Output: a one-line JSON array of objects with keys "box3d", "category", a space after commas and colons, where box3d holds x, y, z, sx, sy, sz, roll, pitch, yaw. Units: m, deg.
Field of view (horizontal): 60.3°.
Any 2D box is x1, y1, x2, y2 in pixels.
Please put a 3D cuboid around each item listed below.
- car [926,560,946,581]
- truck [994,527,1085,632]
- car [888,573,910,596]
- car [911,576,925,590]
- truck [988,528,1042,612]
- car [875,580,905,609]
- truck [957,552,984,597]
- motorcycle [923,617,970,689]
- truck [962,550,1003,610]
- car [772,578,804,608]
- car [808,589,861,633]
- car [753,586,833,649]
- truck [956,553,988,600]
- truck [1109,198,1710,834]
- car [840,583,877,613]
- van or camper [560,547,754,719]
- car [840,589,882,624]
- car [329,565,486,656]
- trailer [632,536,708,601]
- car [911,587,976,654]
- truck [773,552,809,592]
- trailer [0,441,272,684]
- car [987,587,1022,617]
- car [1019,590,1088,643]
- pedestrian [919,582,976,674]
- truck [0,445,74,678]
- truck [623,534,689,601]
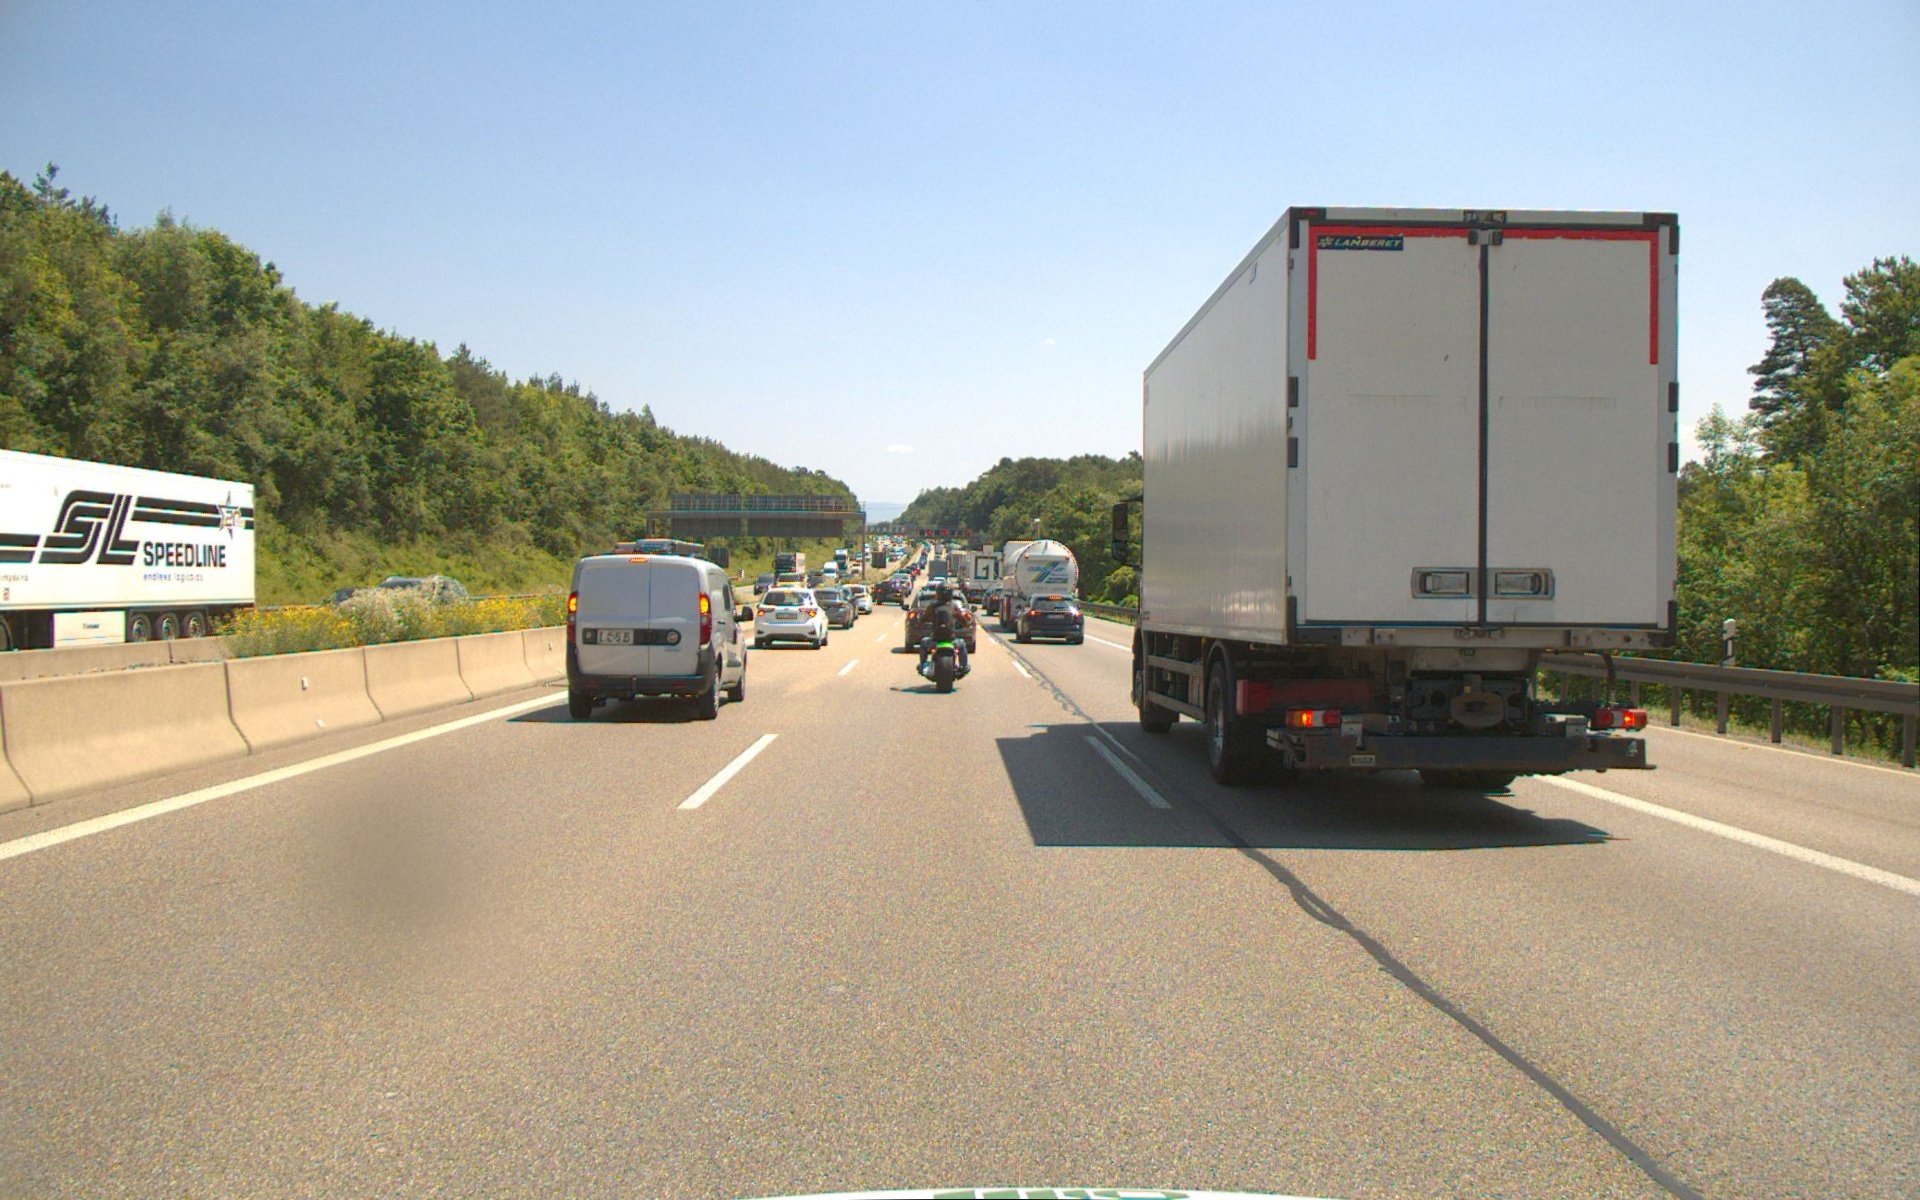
[{"box3d": [-2.959, -3.656, 206.611, 2.453, 2.632, 5.015, 0, 1, -1], "category": "car"}, {"box3d": [2.993, -0.739, 64.845, 2.927, 3.735, 9.286, -2, 0, -1], "category": "truck"}, {"box3d": [-5.743, -1.409, 156.058, 1.890, 2.049, 4.000, -2, 0, 0], "category": "car"}, {"box3d": [-6.222, -2.528, 243.291, 1.953, 2.049, 4.000, 1, 0, -1], "category": "car"}, {"box3d": [2.422, -1.286, 73.938, 1.954, 3.584, 4.748, -2, 0, -3], "category": "truck"}, {"box3d": [-4.744, -0.380, 112.684, 1.841, 1.892, 4.000, 1, 0, -1], "category": "car"}, {"box3d": [1.198, -3.064, 201.014, 2.971, 5.229, 9.981, 1, 1, -1], "category": "truck"}, {"box3d": [-0.192, 0.806, 25.752, 0.677, 1.033, 2.121, 1, 0, 0], "category": "motorcycle"}, {"box3d": [1.749, -1.624, 135.061, 2.971, 4.621, 9.981, 1, 1, -1], "category": "truck"}, {"box3d": [-12.823, -0.503, 123.557, 1.841, 2.049, 4.468, -3, 0, -1], "category": "car"}, {"box3d": [-4.487, 0.368, 59.552, 1.665, 1.504, 4.000, 0, 1, -1], "category": "car"}, {"box3d": [-4.232, 0.415, 42.406, 1.665, 1.504, 4.000, 0, 1, -1], "category": "car"}, {"box3d": [1.171, -2.380, 170.925, 2.971, 4.621, 9.981, 1, 1, -1], "category": "truck"}, {"box3d": [3.308, -0.557, 15.413, 2.634, 3.943, 9.778, -2, 0, -1], "category": "truck"}, {"box3d": [-5.151, -0.115, 84.421, 1.665, 1.504, 4.000, 0, 1, -1], "category": "car"}, {"box3d": [-3.682, 0.386, 20.764, 1.760, 1.925, 4.158, 1, 0, -2], "category": "van or camper"}, {"box3d": [-4.336, 0.267, 73.041, 1.665, 1.504, 4.000, 0, 1, -1], "category": "car"}, {"box3d": [-11.943, 0.227, 36.096, 1.845, 1.786, 4.786, -2, 0, -1], "category": "car"}, {"box3d": [-19.746, -2.005, 113.506, 2.847, 4.043, 13.885, -2, 0, -1], "category": "trailer"}, {"box3d": [-0.435, 0.484, 41.378, 1.502, 1.536, 3.999, -2, 0, -1], "category": "car"}, {"box3d": [-20.392, -3.326, 200.128, 3.649, 4.607, 7.324, -2, 0, -1], "category": "truck"}, {"box3d": [-18.804, -0.632, 34.755, 2.745, 4.414, 14.036, -1, 0, 0], "category": "trailer"}, {"box3d": [2.427, 0.112, 90.559, 1.751, 1.583, 3.803, 0, 1, -1], "category": "car"}, {"box3d": [2.797, 0.481, 50.180, 1.791, 1.496, 4.000, 1, 1, -1], "category": "car"}, {"box3d": [-0.191, 0.430, 25.808, 0.832, 1.385, 0.961, -2, 0, 0], "category": "pedestrian"}, {"box3d": [-18.782, -0.682, 28.627, 2.745, 4.238, 7.599, -1, 0, 0], "category": "truck"}, {"box3d": [-19.662, -2.028, 107.267, 2.847, 4.043, 7.767, -2, 0, -1], "category": "truck"}]
